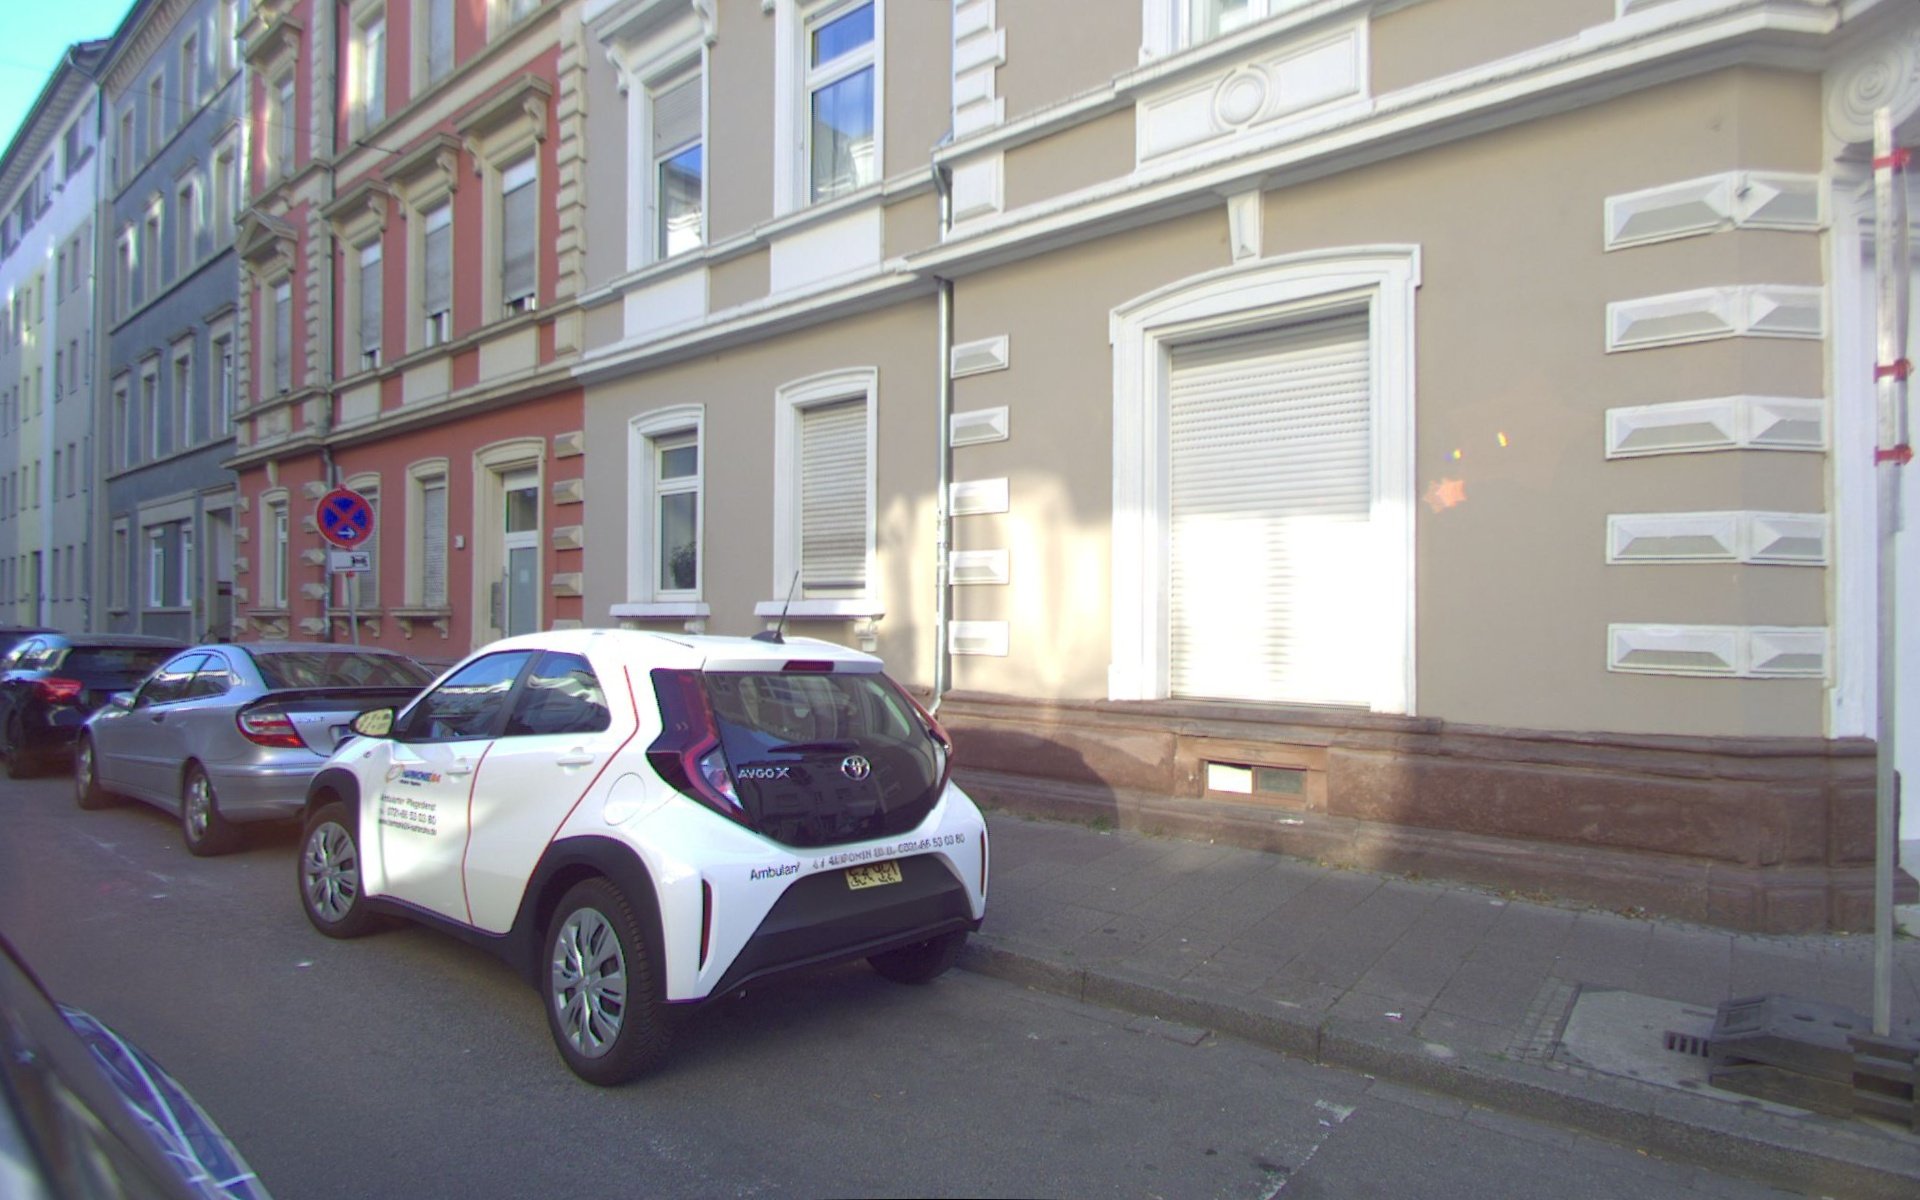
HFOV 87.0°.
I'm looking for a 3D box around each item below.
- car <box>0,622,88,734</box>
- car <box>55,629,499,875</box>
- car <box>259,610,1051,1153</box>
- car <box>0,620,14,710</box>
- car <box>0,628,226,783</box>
[{"bbox_3d":[-14.541,1.082,15.029,4.189,1.510,1.519,-1,-3,37],"label":"car"},{"bbox_3d":[-5.451,0.992,7.917,3.955,1.439,1.595,-1,-4,36],"label":"car"},{"bbox_3d":[-1.644,0.865,4.740,3.841,1.507,1.667,-1,-5,40],"label":"car"},{"bbox_3d":[-18.478,1.131,18.120,4.423,1.534,1.578,-1,-1,38],"label":"car"},{"bbox_3d":[-9.755,1.070,11.209,3.907,1.426,1.569,-1,-5,39],"label":"car"}]
